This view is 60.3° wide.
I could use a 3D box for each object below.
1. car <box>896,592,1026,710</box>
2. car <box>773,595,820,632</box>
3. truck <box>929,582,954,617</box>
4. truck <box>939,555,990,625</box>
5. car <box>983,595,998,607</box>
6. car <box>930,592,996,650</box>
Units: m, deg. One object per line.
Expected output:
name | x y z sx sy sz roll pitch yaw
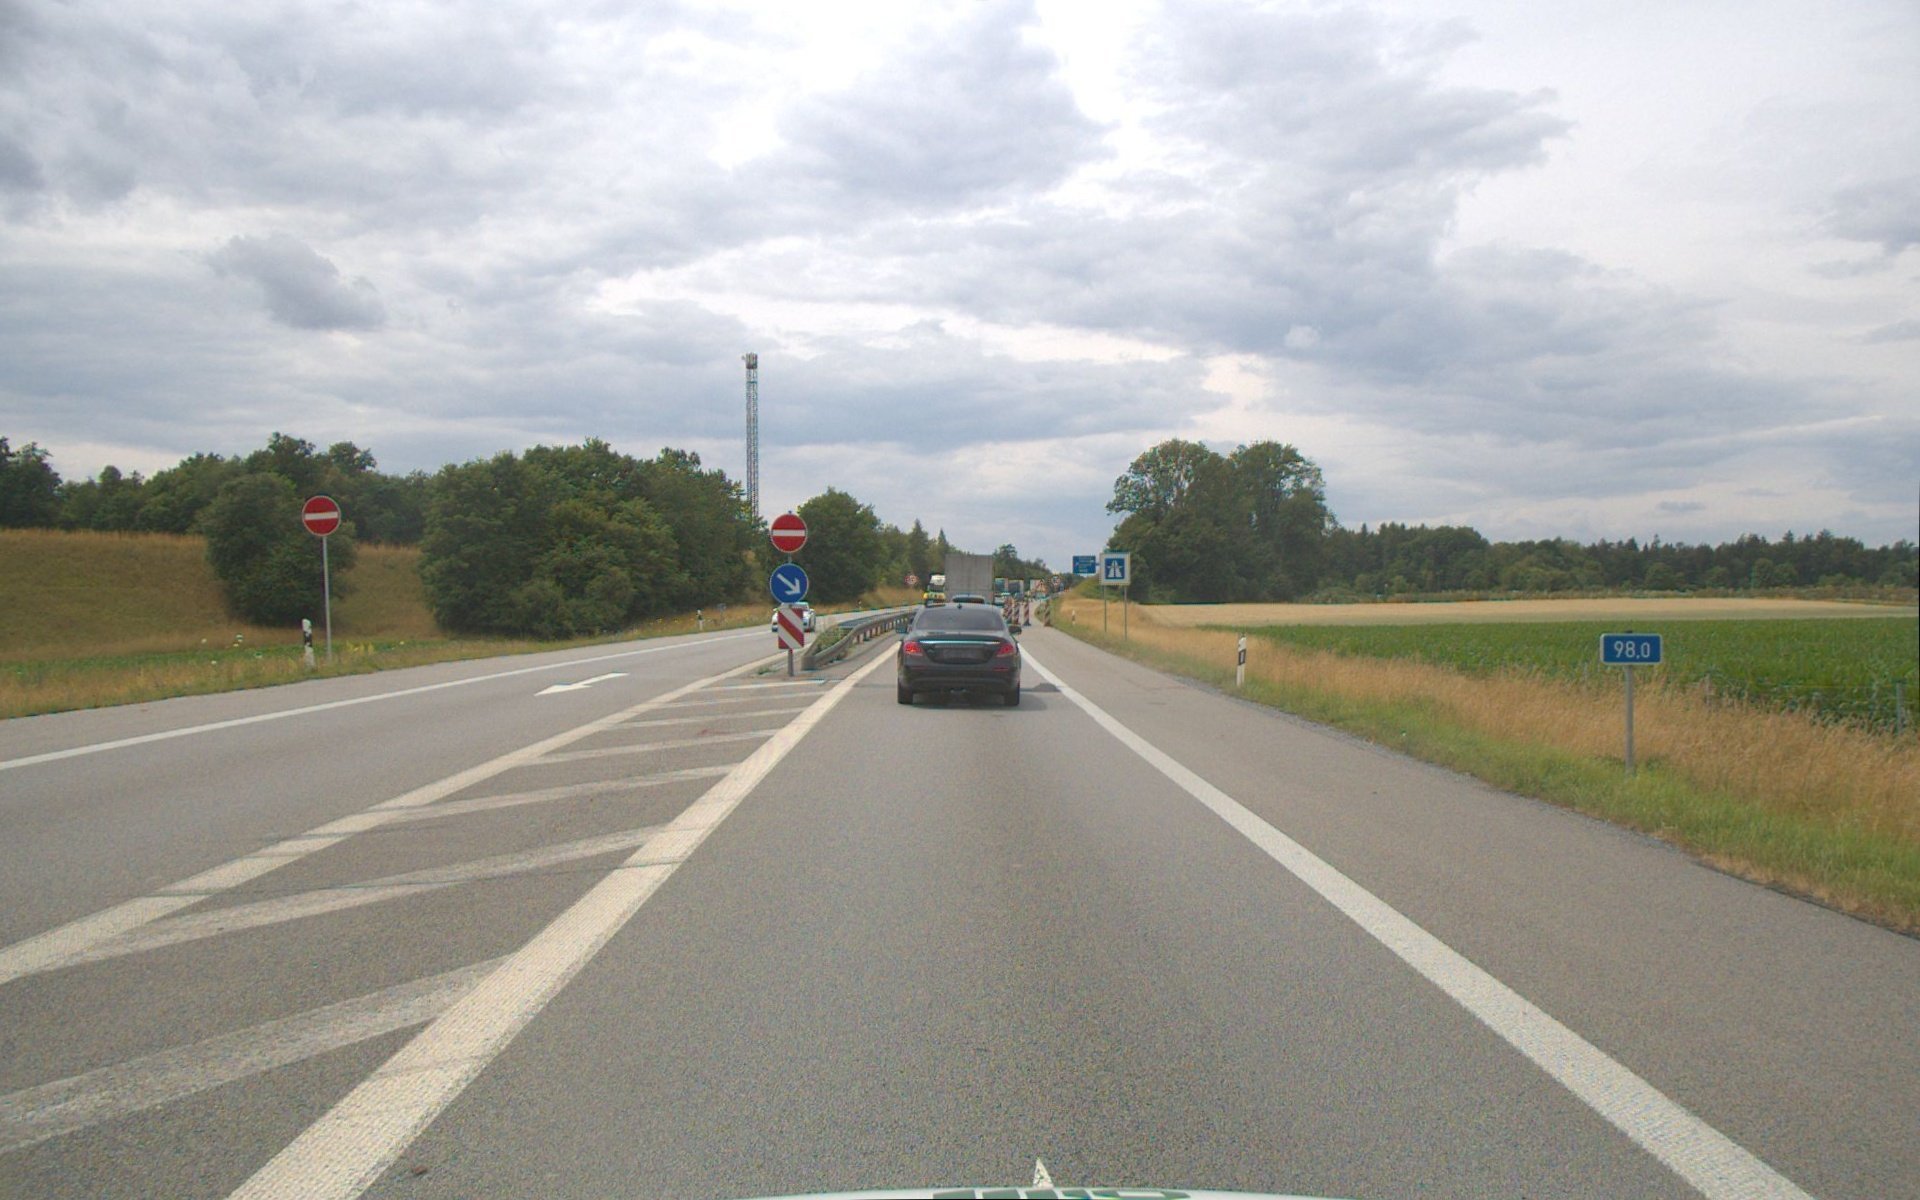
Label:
car | 0.013 0.738 25.077 1.759 1.587 3.999 2 -1 0
car | -7.911 0.672 80.342 1.780 1.661 4.601 2 -1 0
truck | -2.328 0.015 210.382 2.741 4.214 7.229 2 -1 1
truck | 0.277 -0.487 88.818 2.534 3.586 4.812 2 -1 1
car | 3.747 0.130 203.006 1.616 1.420 3.704 2 -1 -2
car | 0.091 0.775 62.158 1.956 2.049 3.994 2 -1 -7
